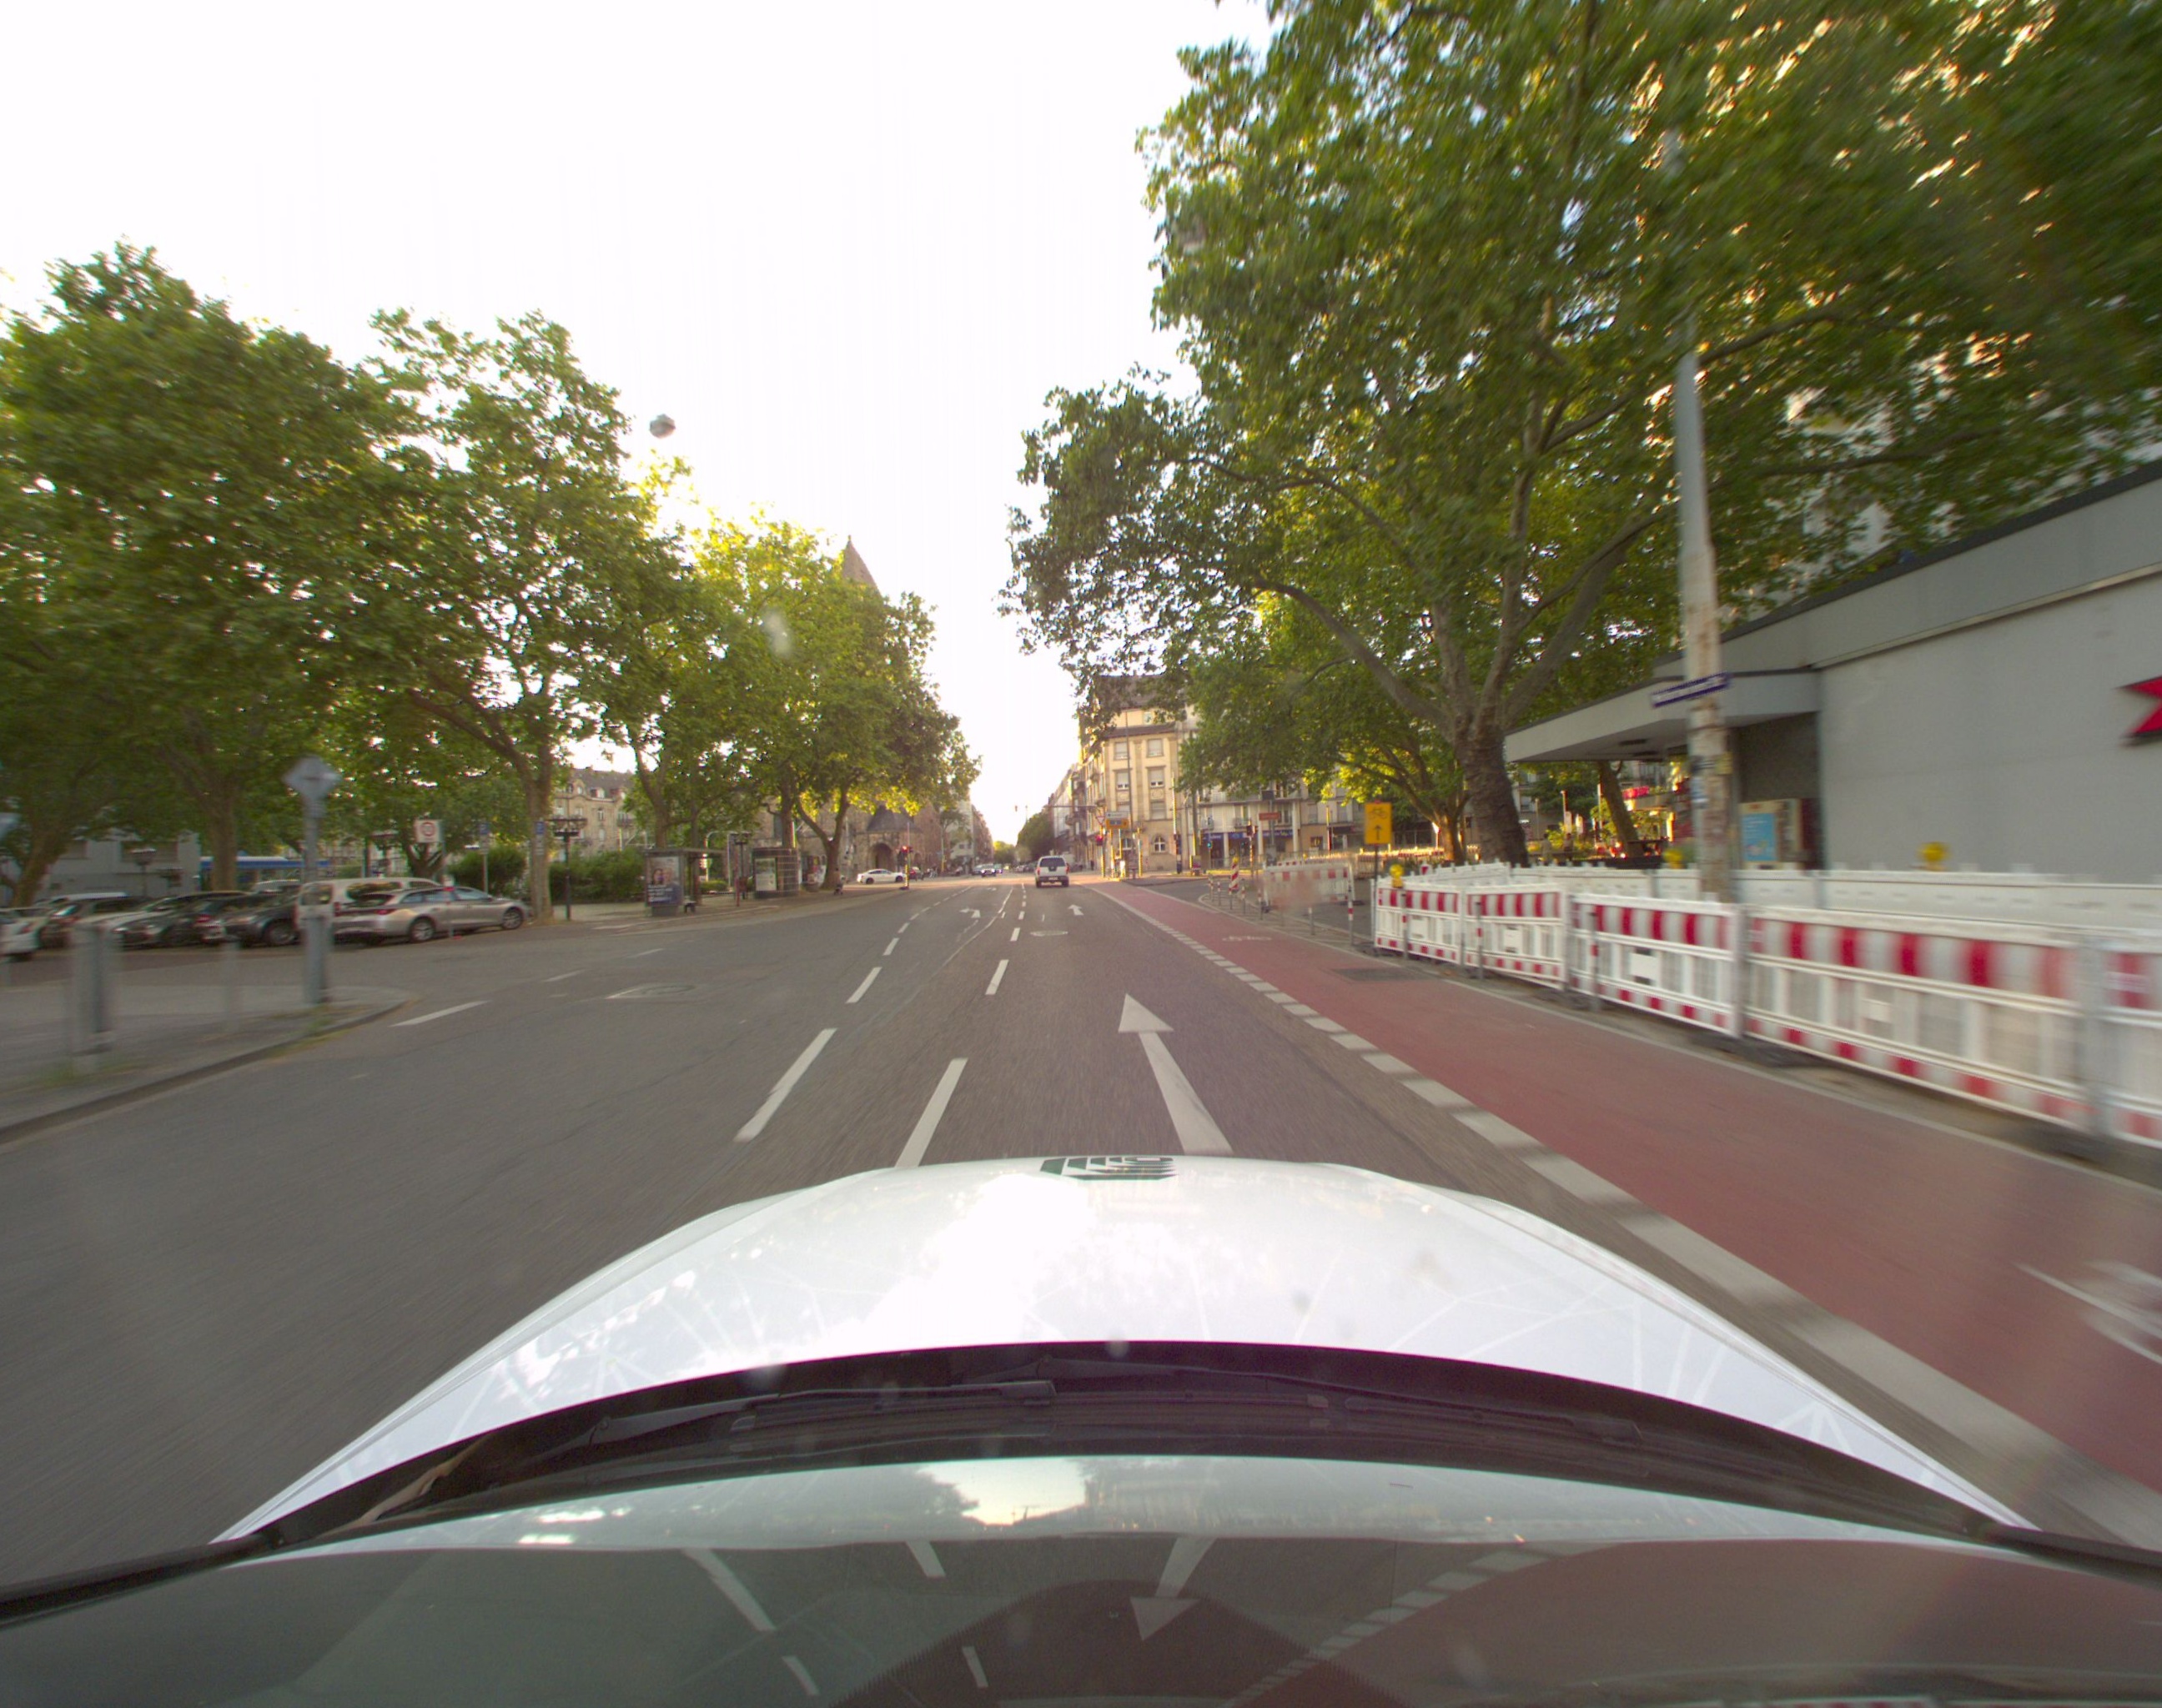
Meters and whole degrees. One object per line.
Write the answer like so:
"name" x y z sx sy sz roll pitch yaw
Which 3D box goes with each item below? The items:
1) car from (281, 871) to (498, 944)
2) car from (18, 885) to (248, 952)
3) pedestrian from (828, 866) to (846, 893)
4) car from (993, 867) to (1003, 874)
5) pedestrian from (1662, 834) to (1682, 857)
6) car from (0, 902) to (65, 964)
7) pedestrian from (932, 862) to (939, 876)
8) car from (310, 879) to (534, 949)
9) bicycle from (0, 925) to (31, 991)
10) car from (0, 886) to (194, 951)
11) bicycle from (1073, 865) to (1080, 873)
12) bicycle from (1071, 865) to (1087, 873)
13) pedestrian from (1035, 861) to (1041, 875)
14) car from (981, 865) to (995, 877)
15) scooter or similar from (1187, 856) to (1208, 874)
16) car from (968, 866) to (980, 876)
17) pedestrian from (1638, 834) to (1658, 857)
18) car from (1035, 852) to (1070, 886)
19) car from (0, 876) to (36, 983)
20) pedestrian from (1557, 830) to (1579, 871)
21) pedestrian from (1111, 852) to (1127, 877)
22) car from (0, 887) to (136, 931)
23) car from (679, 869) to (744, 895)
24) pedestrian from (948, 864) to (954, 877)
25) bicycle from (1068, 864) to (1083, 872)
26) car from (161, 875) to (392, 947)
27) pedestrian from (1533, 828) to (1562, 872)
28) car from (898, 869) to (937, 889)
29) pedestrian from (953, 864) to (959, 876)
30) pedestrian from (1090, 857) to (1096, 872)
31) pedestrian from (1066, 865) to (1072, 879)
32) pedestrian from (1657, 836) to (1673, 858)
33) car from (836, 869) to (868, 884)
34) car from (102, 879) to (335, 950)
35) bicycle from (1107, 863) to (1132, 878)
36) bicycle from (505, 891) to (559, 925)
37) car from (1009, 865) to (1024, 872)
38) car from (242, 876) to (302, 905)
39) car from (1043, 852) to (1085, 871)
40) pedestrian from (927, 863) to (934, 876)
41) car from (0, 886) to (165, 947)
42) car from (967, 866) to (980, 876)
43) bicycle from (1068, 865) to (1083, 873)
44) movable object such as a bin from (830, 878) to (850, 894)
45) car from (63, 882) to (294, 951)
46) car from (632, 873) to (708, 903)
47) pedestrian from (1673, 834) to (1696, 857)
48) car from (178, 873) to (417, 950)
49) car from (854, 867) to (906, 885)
"car" -20.524 1.524 24.472 1.804 1.800 4.653 -3 0 18
"car" -32.405 2.144 28.067 2.062 1.841 4.651 -3 0 16
"pedestrian" -14.880 1.551 49.730 0.733 1.629 0.688 -2 -1 11
"car" -17.420 3.457 171.259 1.993 1.506 3.809 -1 -1 -9
"pedestrian" 30.177 -0.439 41.570 0.628 1.129 0.601 -2 -1 -35
"car" -29.300 2.108 21.300 3.956 1.519 2.009 -2 0 16
"pedestrian" -20.291 2.050 113.653 0.648 1.886 0.589 -3 -1 22
"car" -17.957 1.580 22.553 1.806 1.481 4.647 -3 0 12
"bicycle" -18.524 1.758 13.786 1.802 1.042 0.482 -3 -1 24
"car" -35.063 2.216 28.707 2.063 1.841 4.650 -3 0 15
"bicycle" -0.578 1.914 105.829 0.540 0.968 1.928 -2 0 13
"bicycle" -0.239 1.892 104.480 1.901 0.968 0.548 -2 -1 13
"pedestrian" -5.655 1.826 107.578 0.591 1.886 0.647 -2 -1 1
"car" -13.000 2.396 114.063 1.781 1.651 3.809 -1 -1 -9
"scooter or similar" 8.071 0.759 56.424 0.548 1.250 1.373 -2 -1 -41
"car" -18.772 3.008 143.403 1.993 1.651 3.809 -1 -1 -9
"pedestrian" 28.512 -0.411 40.956 0.624 1.112 0.579 -2 -1 15
"car" -1.690 0.865 47.512 1.861 1.815 3.996 -3 -1 -2
"car" -21.689 1.436 13.567 1.977 1.973 4.870 -3 -1 19
"pedestrian" 21.504 -0.157 35.977 0.709 1.758 0.666 -3 -1 23
"pedestrian" 2.666 0.734 57.153 0.797 1.768 0.717 -2 -1 -19
"car" -59.654 3.178 47.916 1.977 2.292 4.869 -3 -1 18
"car" -30.242 2.279 66.806 2.060 1.841 4.655 -3 0 21
"pedestrian" -19.963 2.505 124.869 0.588 1.886 0.588 -3 -1 17
"bicycle" -0.721 1.768 103.401 1.910 0.968 0.545 -2 -1 -3
"car" -25.046 1.712 25.627 2.061 1.841 4.653 -3 0 18
"pedestrian" 19.292 -0.160 33.659 0.662 1.758 0.713 -2 -1 -18
"car" -17.558 2.672 87.533 2.062 1.841 4.651 -3 0 16
"pedestrian" -19.110 2.424 124.503 0.588 1.886 0.556 -3 -1 18
"pedestrian" 1.519 1.333 102.722 0.591 1.886 0.647 -2 -1 1
"pedestrian" -1.502 2.263 103.402 0.591 1.768 0.653 -2 -1 1
"pedestrian" 28.714 -0.344 40.043 0.576 1.028 0.660 -3 -1 36
"car" -31.141 3.035 110.599 3.764 1.805 1.720 -3 -1 17
"car" -27.531 1.861 26.255 2.061 1.841 4.653 -3 0 18
"bicycle" 2.679 1.152 56.649 1.690 0.968 0.544 -2 -1 -8
"bicycle" -19.532 1.910 28.991 0.397 1.073 1.603 -3 -1 24
"car" -17.139 3.840 216.591 3.984 1.816 1.995 -2 -1 -7
"car" -67.697 3.018 68.140 4.288 2.260 1.941 -3 -1 20
"car" -2.265 0.996 109.886 5.857 2.288 2.047 -2 -1 -44
"pedestrian" -21.020 2.164 113.677 0.588 1.886 0.556 -3 -1 21
"car" -37.285 2.253 29.686 2.063 1.841 4.649 -3 0 14
"car" -17.915 2.841 135.722 1.993 1.651 3.809 -1 -1 -9
"bicycle" -0.695 1.886 103.680 1.910 0.968 0.545 -2 -1 -3
"movable object such as a bin" -14.417 1.895 48.806 0.733 0.890 0.985 -2 -1 11
"car" -29.898 2.020 27.209 2.061 1.841 4.654 -3 0 19
"car" -29.921 2.459 59.466 2.060 1.841 4.655 -3 0 21
"pedestrian" 29.586 -0.417 39.933 0.663 1.136 0.629 -2 -1 16
"car" -23.110 1.623 24.312 2.061 1.841 4.653 -3 0 18
"car" -19.695 2.169 79.944 4.649 1.530 1.984 -2 0 -23
